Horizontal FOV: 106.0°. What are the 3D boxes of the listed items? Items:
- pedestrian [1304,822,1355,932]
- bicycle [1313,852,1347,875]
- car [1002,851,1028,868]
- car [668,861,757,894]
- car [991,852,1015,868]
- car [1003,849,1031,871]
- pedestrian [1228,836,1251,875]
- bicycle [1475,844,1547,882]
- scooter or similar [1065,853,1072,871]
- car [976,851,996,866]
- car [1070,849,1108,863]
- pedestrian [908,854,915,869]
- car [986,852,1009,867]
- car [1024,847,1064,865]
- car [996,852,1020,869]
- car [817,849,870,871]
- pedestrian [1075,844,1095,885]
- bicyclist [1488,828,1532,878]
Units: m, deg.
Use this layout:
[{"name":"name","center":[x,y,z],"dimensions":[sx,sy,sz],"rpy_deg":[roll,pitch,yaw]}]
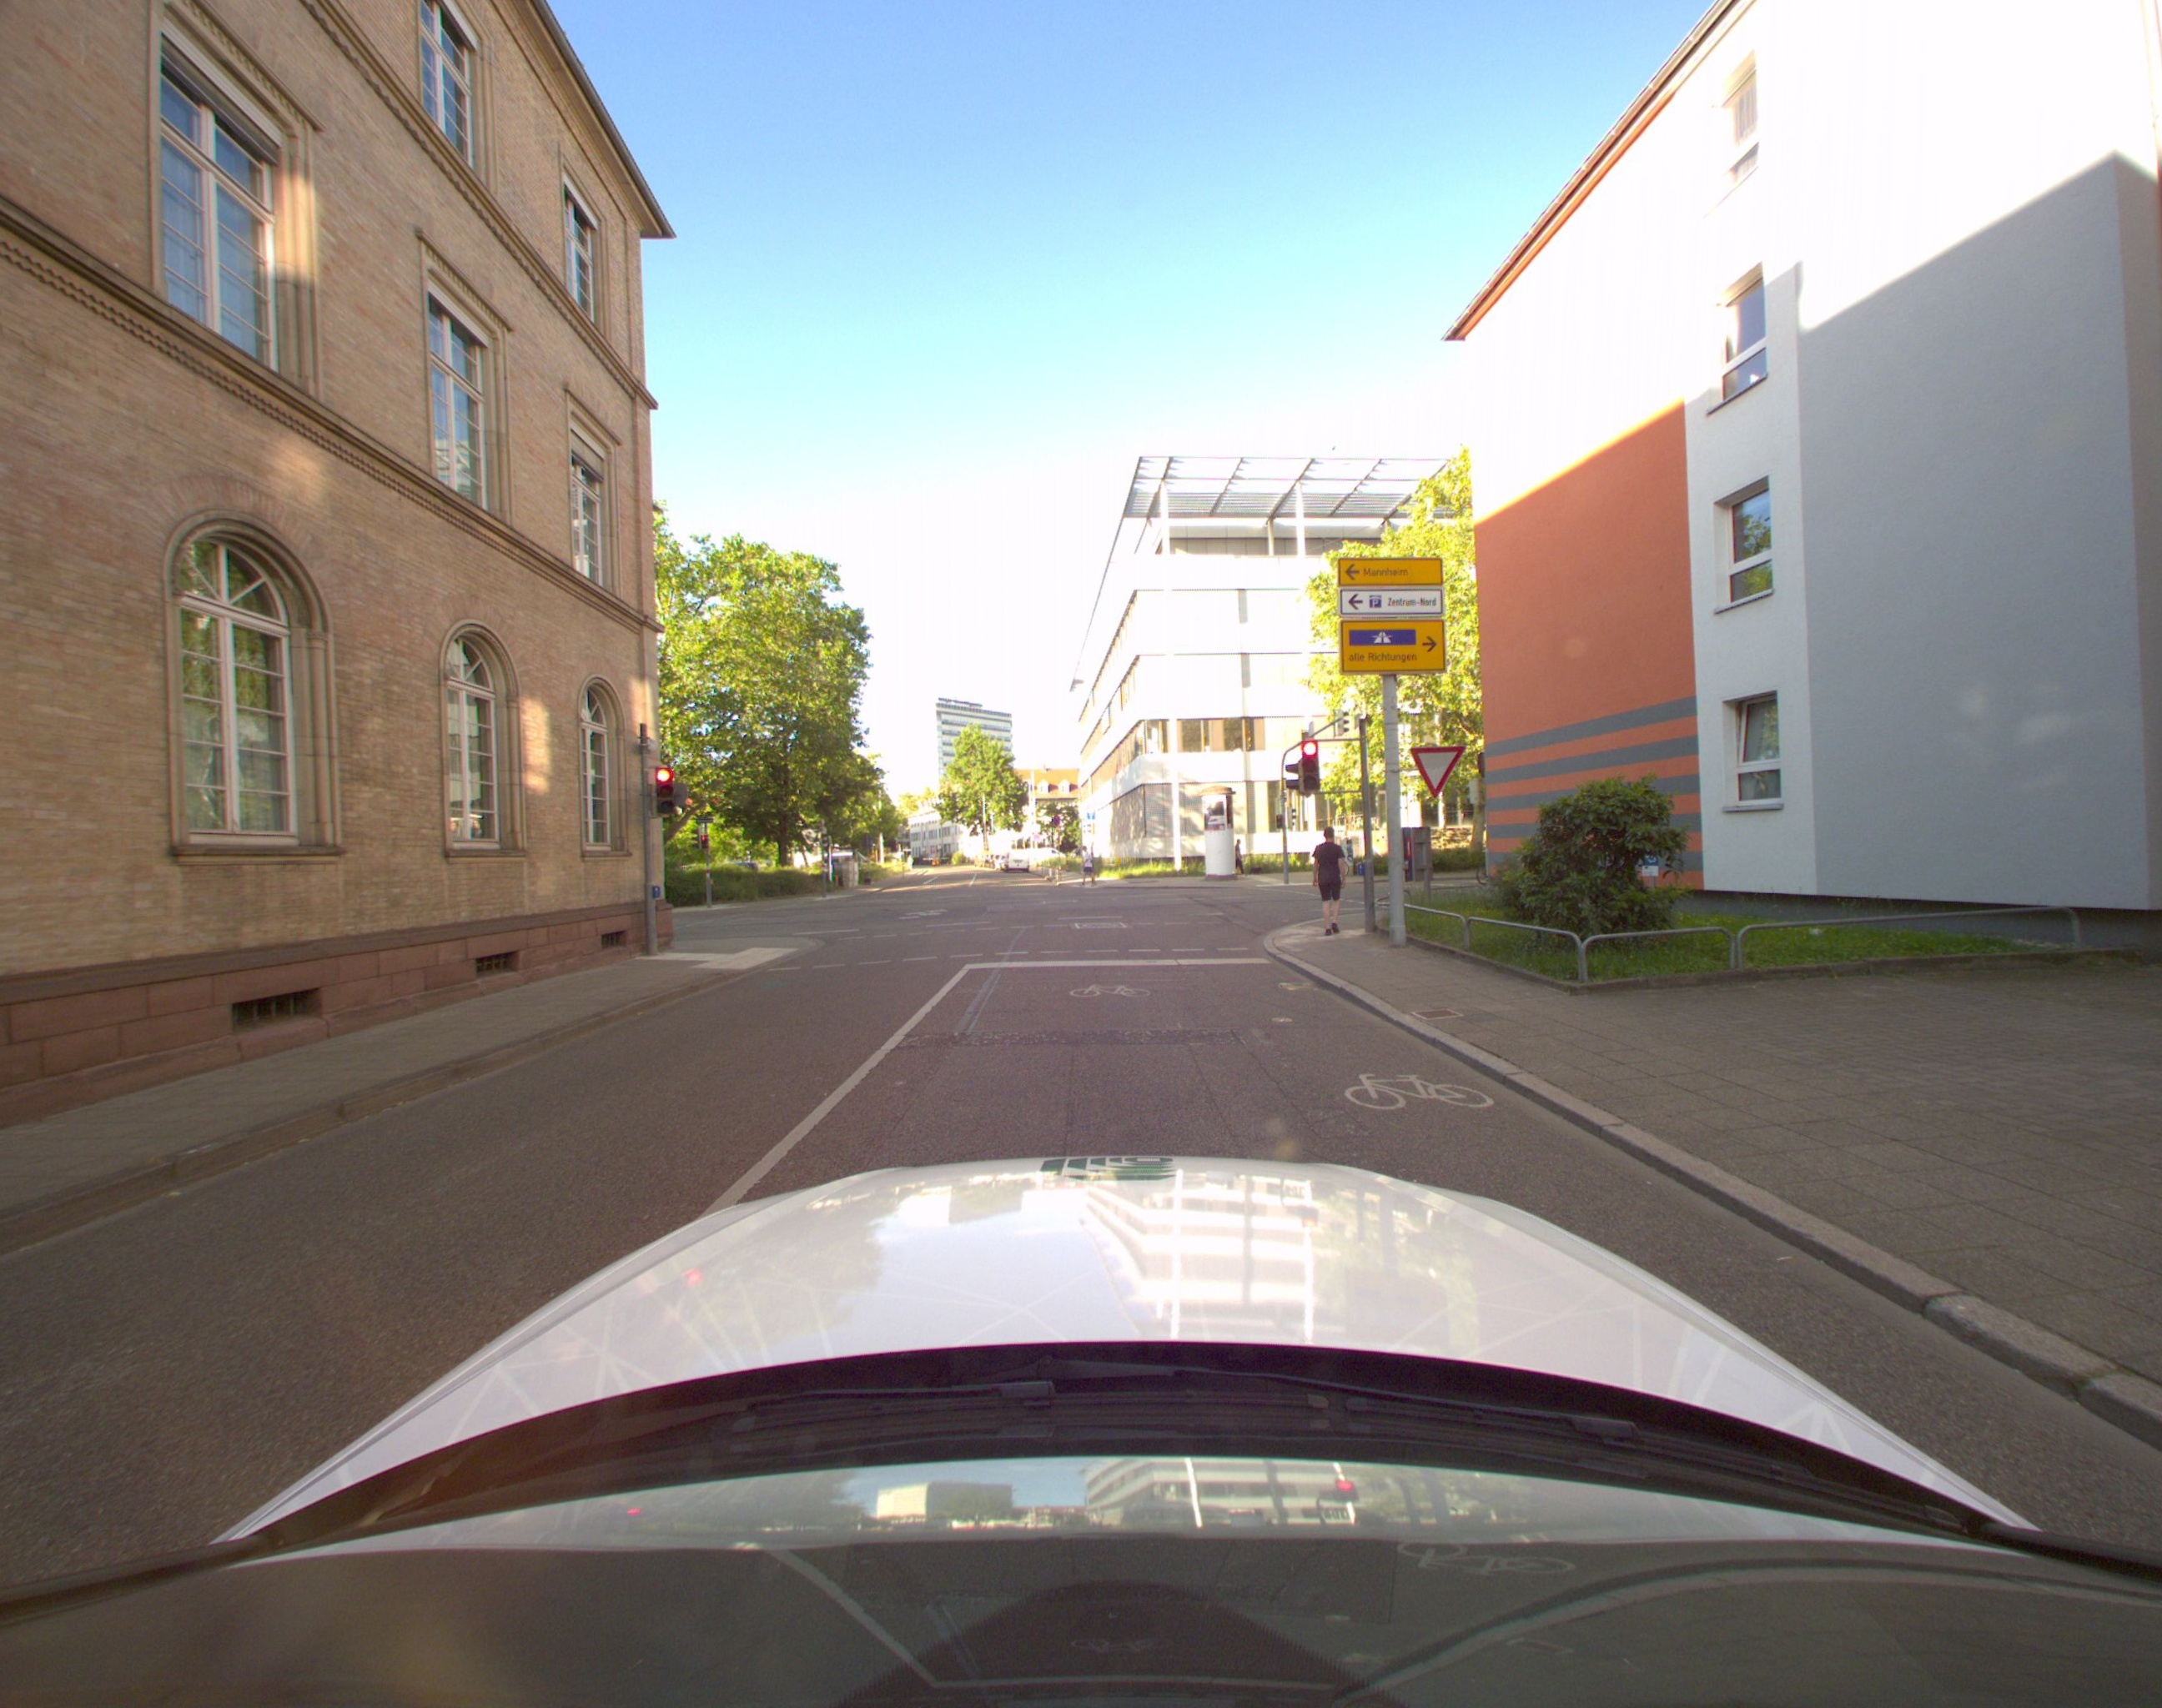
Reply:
[{"name":"pedestrian","center":[4.211,0.384,13.852],"dimensions":[0.696,1.810,0.721],"rpy_deg":[0,-1,6]},{"name":"bicycle","center":[11.005,0.428,36.024],"dimensions":[0.381,1.008,1.416],"rpy_deg":[-2,0,-40]},{"name":"car","center":[-5.845,0.479,71.352],"dimensions":[1.993,1.499,4.638],"rpy_deg":[0,-1,-8]},{"name":"car","center":[-17.085,1.086,37.902],"dimensions":[3.407,1.457,1.646],"rpy_deg":[0,-1,-8]},{"name":"car","center":[-7.840,0.585,81.626],"dimensions":[1.994,1.499,4.270],"rpy_deg":[0,-1,-11]},{"name":"car","center":[-5.171,0.467,65.117],"dimensions":[1.992,1.725,4.640],"rpy_deg":[0,-1,-7]},{"name":"pedestrian","center":[7.547,0.060,38.821],"dimensions":[0.913,1.815,0.760],"rpy_deg":[0,-1,-6]},{"name":"bicycle","center":[13.789,0.279,26.147],"dimensions":[1.953,1.152,0.593],"rpy_deg":[-2,0,7]},{"name":"scooter or similar","center":[-0.913,0.582,58.474],"dimensions":[0.436,1.256,1.418],"rpy_deg":[-2,0,-2]},{"name":"car","center":[-11.296,0.537,96.303],"dimensions":[1.995,1.725,4.633],"rpy_deg":[0,-1,-11]},{"name":"car","center":[1.028,0.261,104.954],"dimensions":[4.644,1.725,1.990],"rpy_deg":[0,-1,-15]},{"name":"pedestrian","center":[-18.320,0.811,87.842],"dimensions":[0.700,1.587,0.633],"rpy_deg":[0,-1,-14]},{"name":"car","center":[-8.881,0.591,86.379],"dimensions":[1.994,1.499,4.635],"rpy_deg":[0,-1,-10]},{"name":"car","center":[-4.678,0.276,103.248],"dimensions":[4.802,2.159,1.989],"rpy_deg":[0,-1,-16]},{"name":"car","center":[-6.918,0.608,77.152],"dimensions":[1.993,1.499,4.638],"rpy_deg":[0,-1,-8]},{"name":"car","center":[-22.022,0.523,75.769],"dimensions":[4.441,2.014,1.995],"rpy_deg":[0,-1,-8]},{"name":"pedestrian","center":[0.199,0.480,37.887],"dimensions":[0.911,1.869,0.743],"rpy_deg":[0,-1,1]},{"name":"bicyclist","center":[13.770,-0.036,26.155],"dimensions":[1.069,1.527,0.593],"rpy_deg":[-2,0,7]}]
